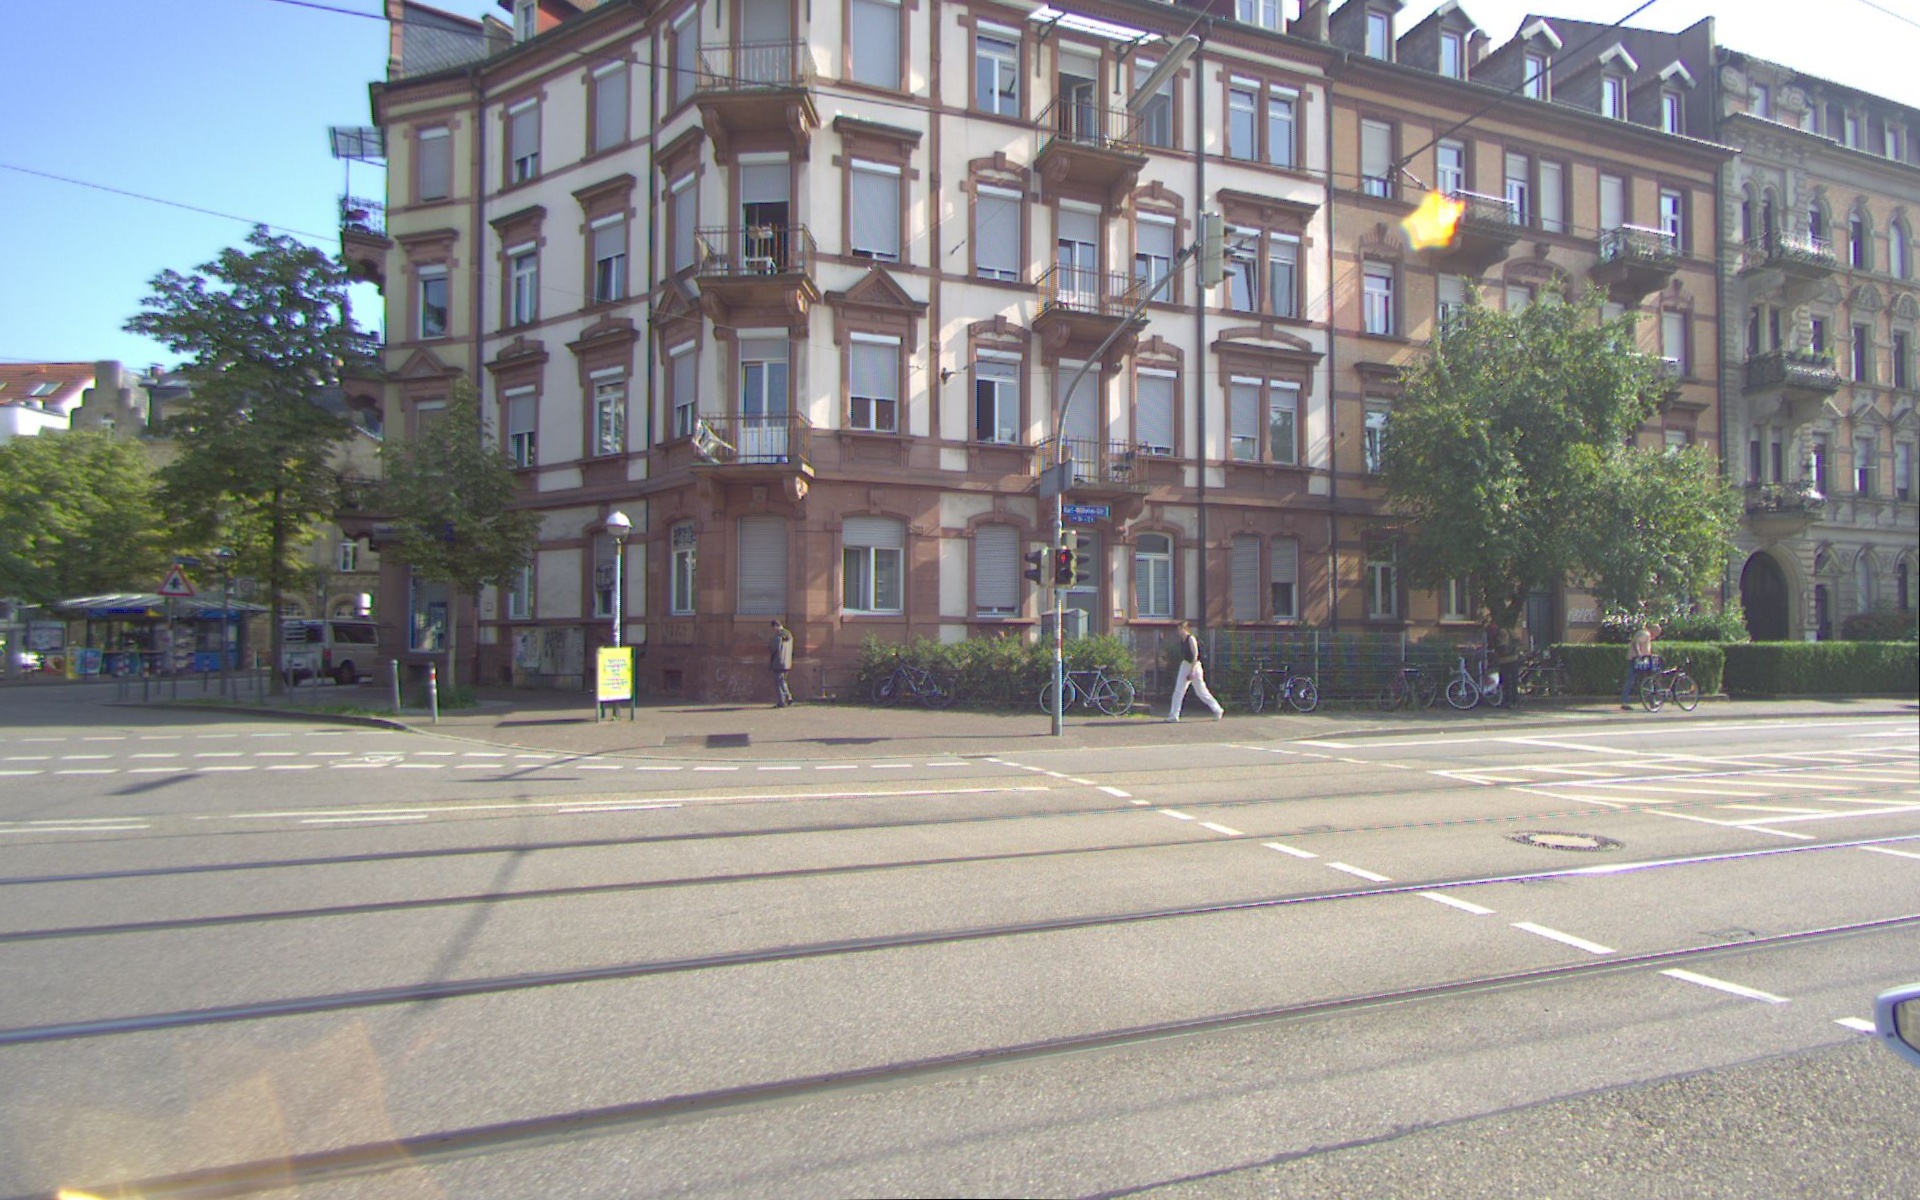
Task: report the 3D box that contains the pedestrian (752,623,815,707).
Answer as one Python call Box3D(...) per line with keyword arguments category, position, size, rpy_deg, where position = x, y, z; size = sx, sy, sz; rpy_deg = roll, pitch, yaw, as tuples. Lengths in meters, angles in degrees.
Box3D(category="pedestrian", position=(-3.394, 1.235, 19.360), size=(0.926, 1.591, 0.842), rpy_deg=(0, -2, 14))

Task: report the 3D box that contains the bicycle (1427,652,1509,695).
Box3D(category="bicycle", position=(11.039, 1.582, 21.885), size=(0.520, 0.871, 1.695), rpy_deg=(1, -2, -19))

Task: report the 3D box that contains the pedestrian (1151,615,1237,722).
Box3D(category="pedestrian", position=(4.056, 1.173, 17.492), size=(1.166, 1.789, 0.905), rpy_deg=(1, -2, -17))

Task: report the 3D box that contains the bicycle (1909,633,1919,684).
Box3D(category="bicycle", position=(29.209, 1.718, 28.725), size=(0.984, 1.474, 2.865), rpy_deg=(1, -1, -26))

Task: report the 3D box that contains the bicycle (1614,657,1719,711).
Box3D(category="bicycle", position=(13.968, 1.640, 19.849), size=(2.118, 1.020, 0.617), rpy_deg=(1, -2, -21))

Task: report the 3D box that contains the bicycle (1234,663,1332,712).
Box3D(category="bicycle", position=(6.155, 1.651, 19.119), size=(1.799, 0.871, 0.526), rpy_deg=(1, -2, -17))

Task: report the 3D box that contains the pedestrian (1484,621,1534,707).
Box3D(category="pedestrian", position=(11.111, 1.291, 20.336), size=(0.627, 1.700, 0.633), rpy_deg=(1, -2, -32))

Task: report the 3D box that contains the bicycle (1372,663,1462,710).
Box3D(category="bicycle", position=(8.976, 1.679, 19.732), size=(1.675, 0.871, 0.526), rpy_deg=(1, -2, -17))

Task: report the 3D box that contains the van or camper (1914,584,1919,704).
Box3D(category="van or camper", position=(24.433, 0.998, 22.087), size=(5.985, 2.679, 2.052), rpy_deg=(1, -3, -14))

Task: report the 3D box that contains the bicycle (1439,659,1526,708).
Box3D(category="bicycle", position=(10.548, 1.674, 20.292), size=(1.675, 0.939, 0.526), rpy_deg=(1, -2, -17))

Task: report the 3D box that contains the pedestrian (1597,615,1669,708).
Box3D(category="pedestrian", position=(13.608, 1.232, 20.320), size=(1.077, 1.830, 0.726), rpy_deg=(1, -2, -22))

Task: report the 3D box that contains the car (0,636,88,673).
Box3D(category="car", position=(-47.524, 2.755, 51.175), size=(2.038, 1.815, 4.595), rpy_deg=(0, -2, 3))

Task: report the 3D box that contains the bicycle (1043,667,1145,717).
Box3D(category="bicycle", position=(2.476, 1.691, 18.572), size=(1.792, 0.871, 0.528), rpy_deg=(-1, -2, 19))

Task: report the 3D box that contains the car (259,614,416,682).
Box3D(category="car", position=(-20.071, 1.525, 32.666), size=(2.038, 2.043, 4.594), rpy_deg=(0, -2, 3))

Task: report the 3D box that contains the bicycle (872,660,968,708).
Box3D(category="bicycle", position=(-0.771, 1.615, 19.490), size=(1.792, 0.871, 0.528), rpy_deg=(-1, -2, 19))
